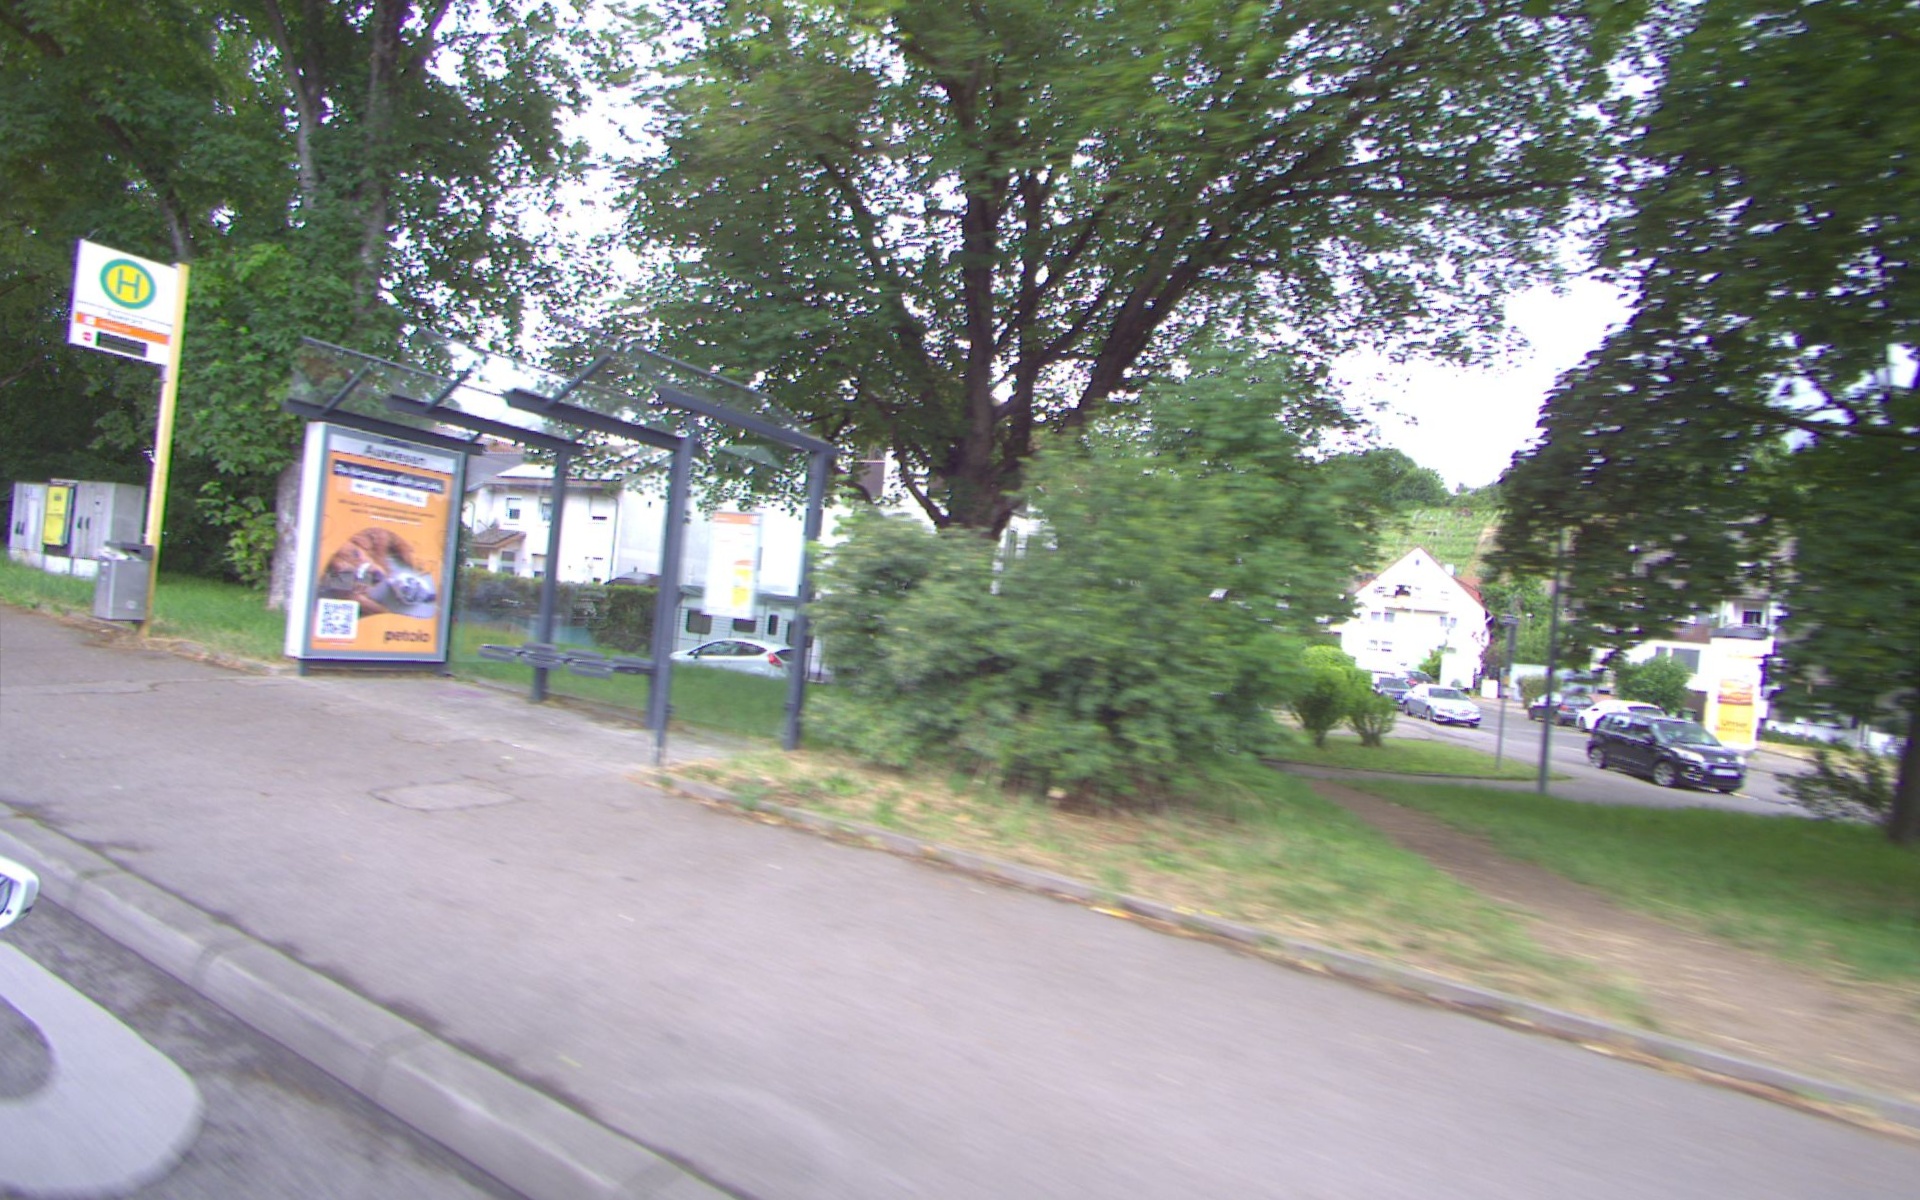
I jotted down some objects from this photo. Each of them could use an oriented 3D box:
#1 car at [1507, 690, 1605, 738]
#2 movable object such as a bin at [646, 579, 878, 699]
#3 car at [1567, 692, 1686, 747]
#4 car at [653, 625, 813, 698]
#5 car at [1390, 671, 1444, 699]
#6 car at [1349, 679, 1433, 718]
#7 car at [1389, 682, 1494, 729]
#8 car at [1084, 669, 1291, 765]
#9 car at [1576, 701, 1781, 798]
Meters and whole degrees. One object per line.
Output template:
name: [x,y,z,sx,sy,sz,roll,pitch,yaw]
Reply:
car: [26.669,5.072,45.187,1.963,1.536,4.002,7,-1,2]
movable object such as a bin: [-5.695,1.108,28.820,6.157,2.653,2.002,6,-2,22]
car: [26.214,4.670,39.730,1.963,1.536,4.002,7,-1,2]
car: [-5.957,1.607,26.398,3.768,1.401,1.485,6,-3,20]
car: [27.748,5.162,61.183,1.692,1.258,3.653,7,-1,4]
car: [20.088,4.570,47.095,1.963,1.442,4.475,7,-3,2]
car: [19.197,4.166,40.331,1.963,1.442,4.474,7,-3,1]
car: [5.061,2.547,22.313,4.209,1.477,1.667,6,-3,19]
car: [17.789,3.650,25.182,1.964,1.785,4.002,7,-3,-3]
